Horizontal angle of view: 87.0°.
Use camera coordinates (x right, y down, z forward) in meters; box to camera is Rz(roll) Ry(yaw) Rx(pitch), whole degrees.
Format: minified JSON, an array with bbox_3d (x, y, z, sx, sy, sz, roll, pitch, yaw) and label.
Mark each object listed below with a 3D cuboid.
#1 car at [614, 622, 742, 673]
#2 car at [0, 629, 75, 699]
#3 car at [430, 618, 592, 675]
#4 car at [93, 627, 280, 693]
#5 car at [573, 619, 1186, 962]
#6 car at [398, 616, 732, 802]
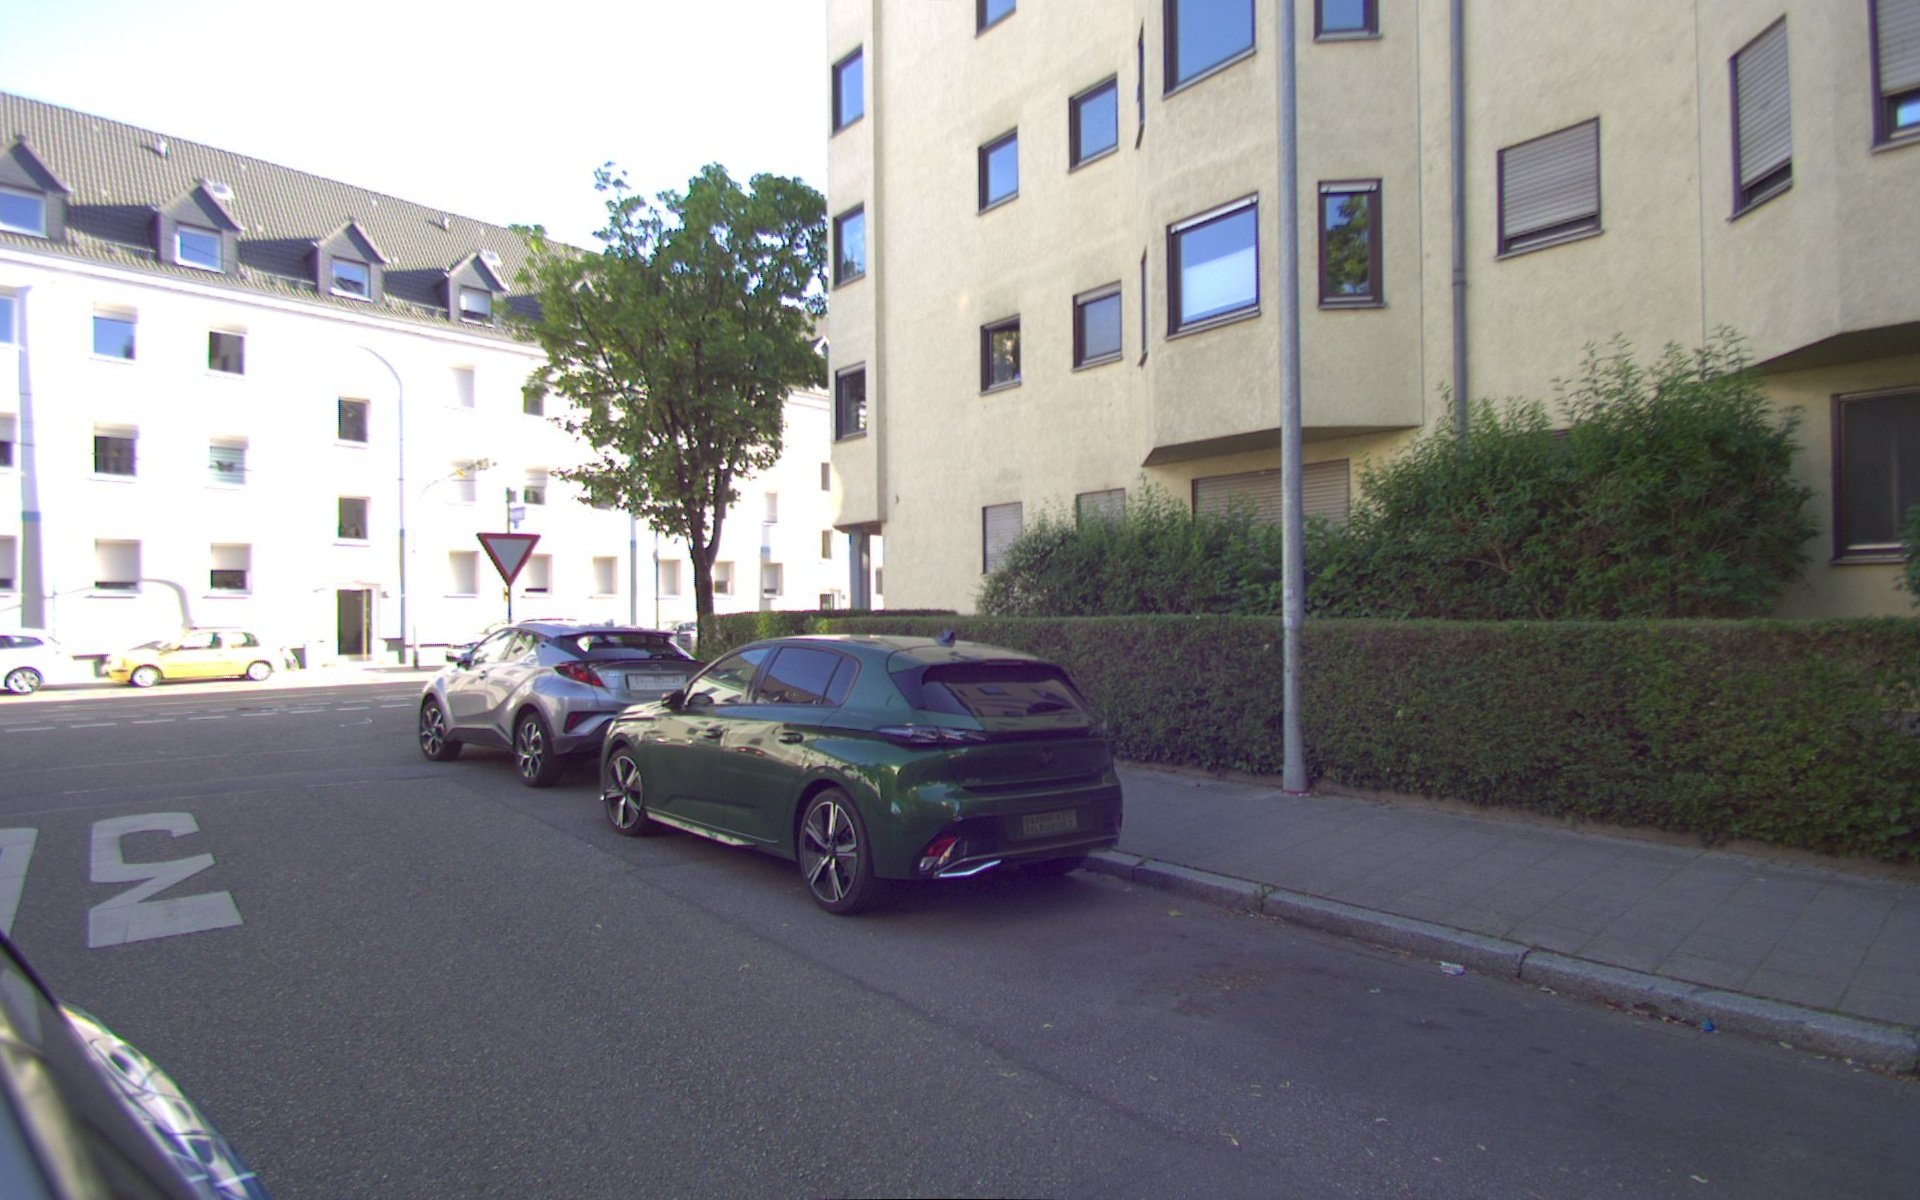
[{"bbox_3d":[-9.980,1.689,36.086,1.922,1.698,4.020,-2,-3,40],"label":"car"},{"bbox_3d":[-22.561,1.440,22.319,1.945,1.518,4.430,-2,-1,43],"label":"car"},{"bbox_3d":[-14.074,1.408,31.928,1.998,1.569,4.228,-2,-1,40],"label":"car"},{"bbox_3d":[-19.561,1.462,25.698,1.554,1.459,3.564,0,0,41],"label":"car"},{"bbox_3d":[-0.811,0.918,6.525,1.744,1.464,4.213,4,-4,-41],"label":"car"},{"bbox_3d":[-4.269,0.997,10.621,4.075,1.567,1.699,-2,-3,44],"label":"car"}]
